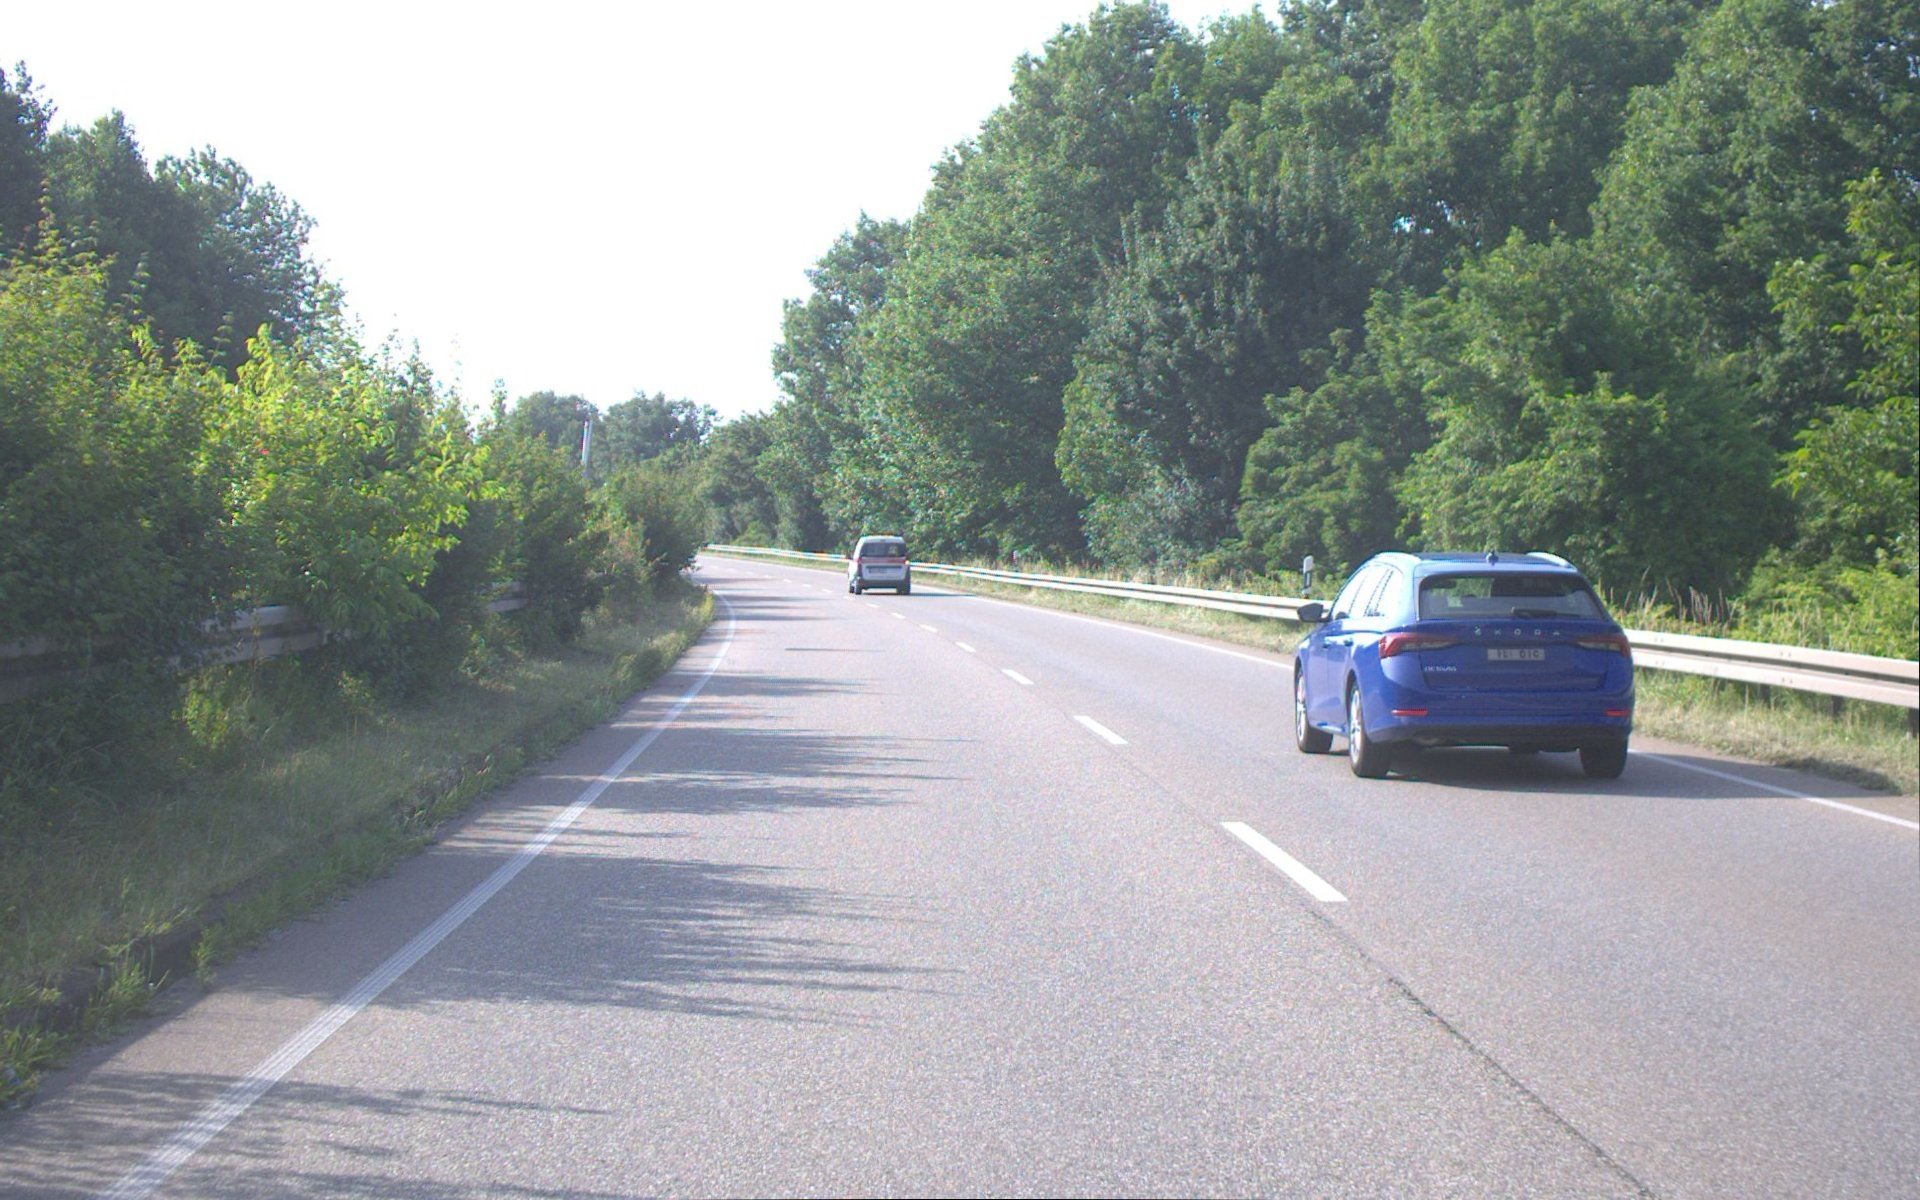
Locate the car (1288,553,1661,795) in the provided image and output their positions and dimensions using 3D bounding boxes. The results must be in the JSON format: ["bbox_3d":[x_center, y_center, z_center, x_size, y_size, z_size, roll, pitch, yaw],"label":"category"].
[{"bbox_3d":[3.360,0.429,23.161,1.779,1.446,4.000,1,1,-2],"label":"car"}]

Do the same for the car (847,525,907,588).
[{"bbox_3d":[-2.577,-1.361,106.225,1.765,1.875,4.001,1,2,-2],"label":"car"}]
